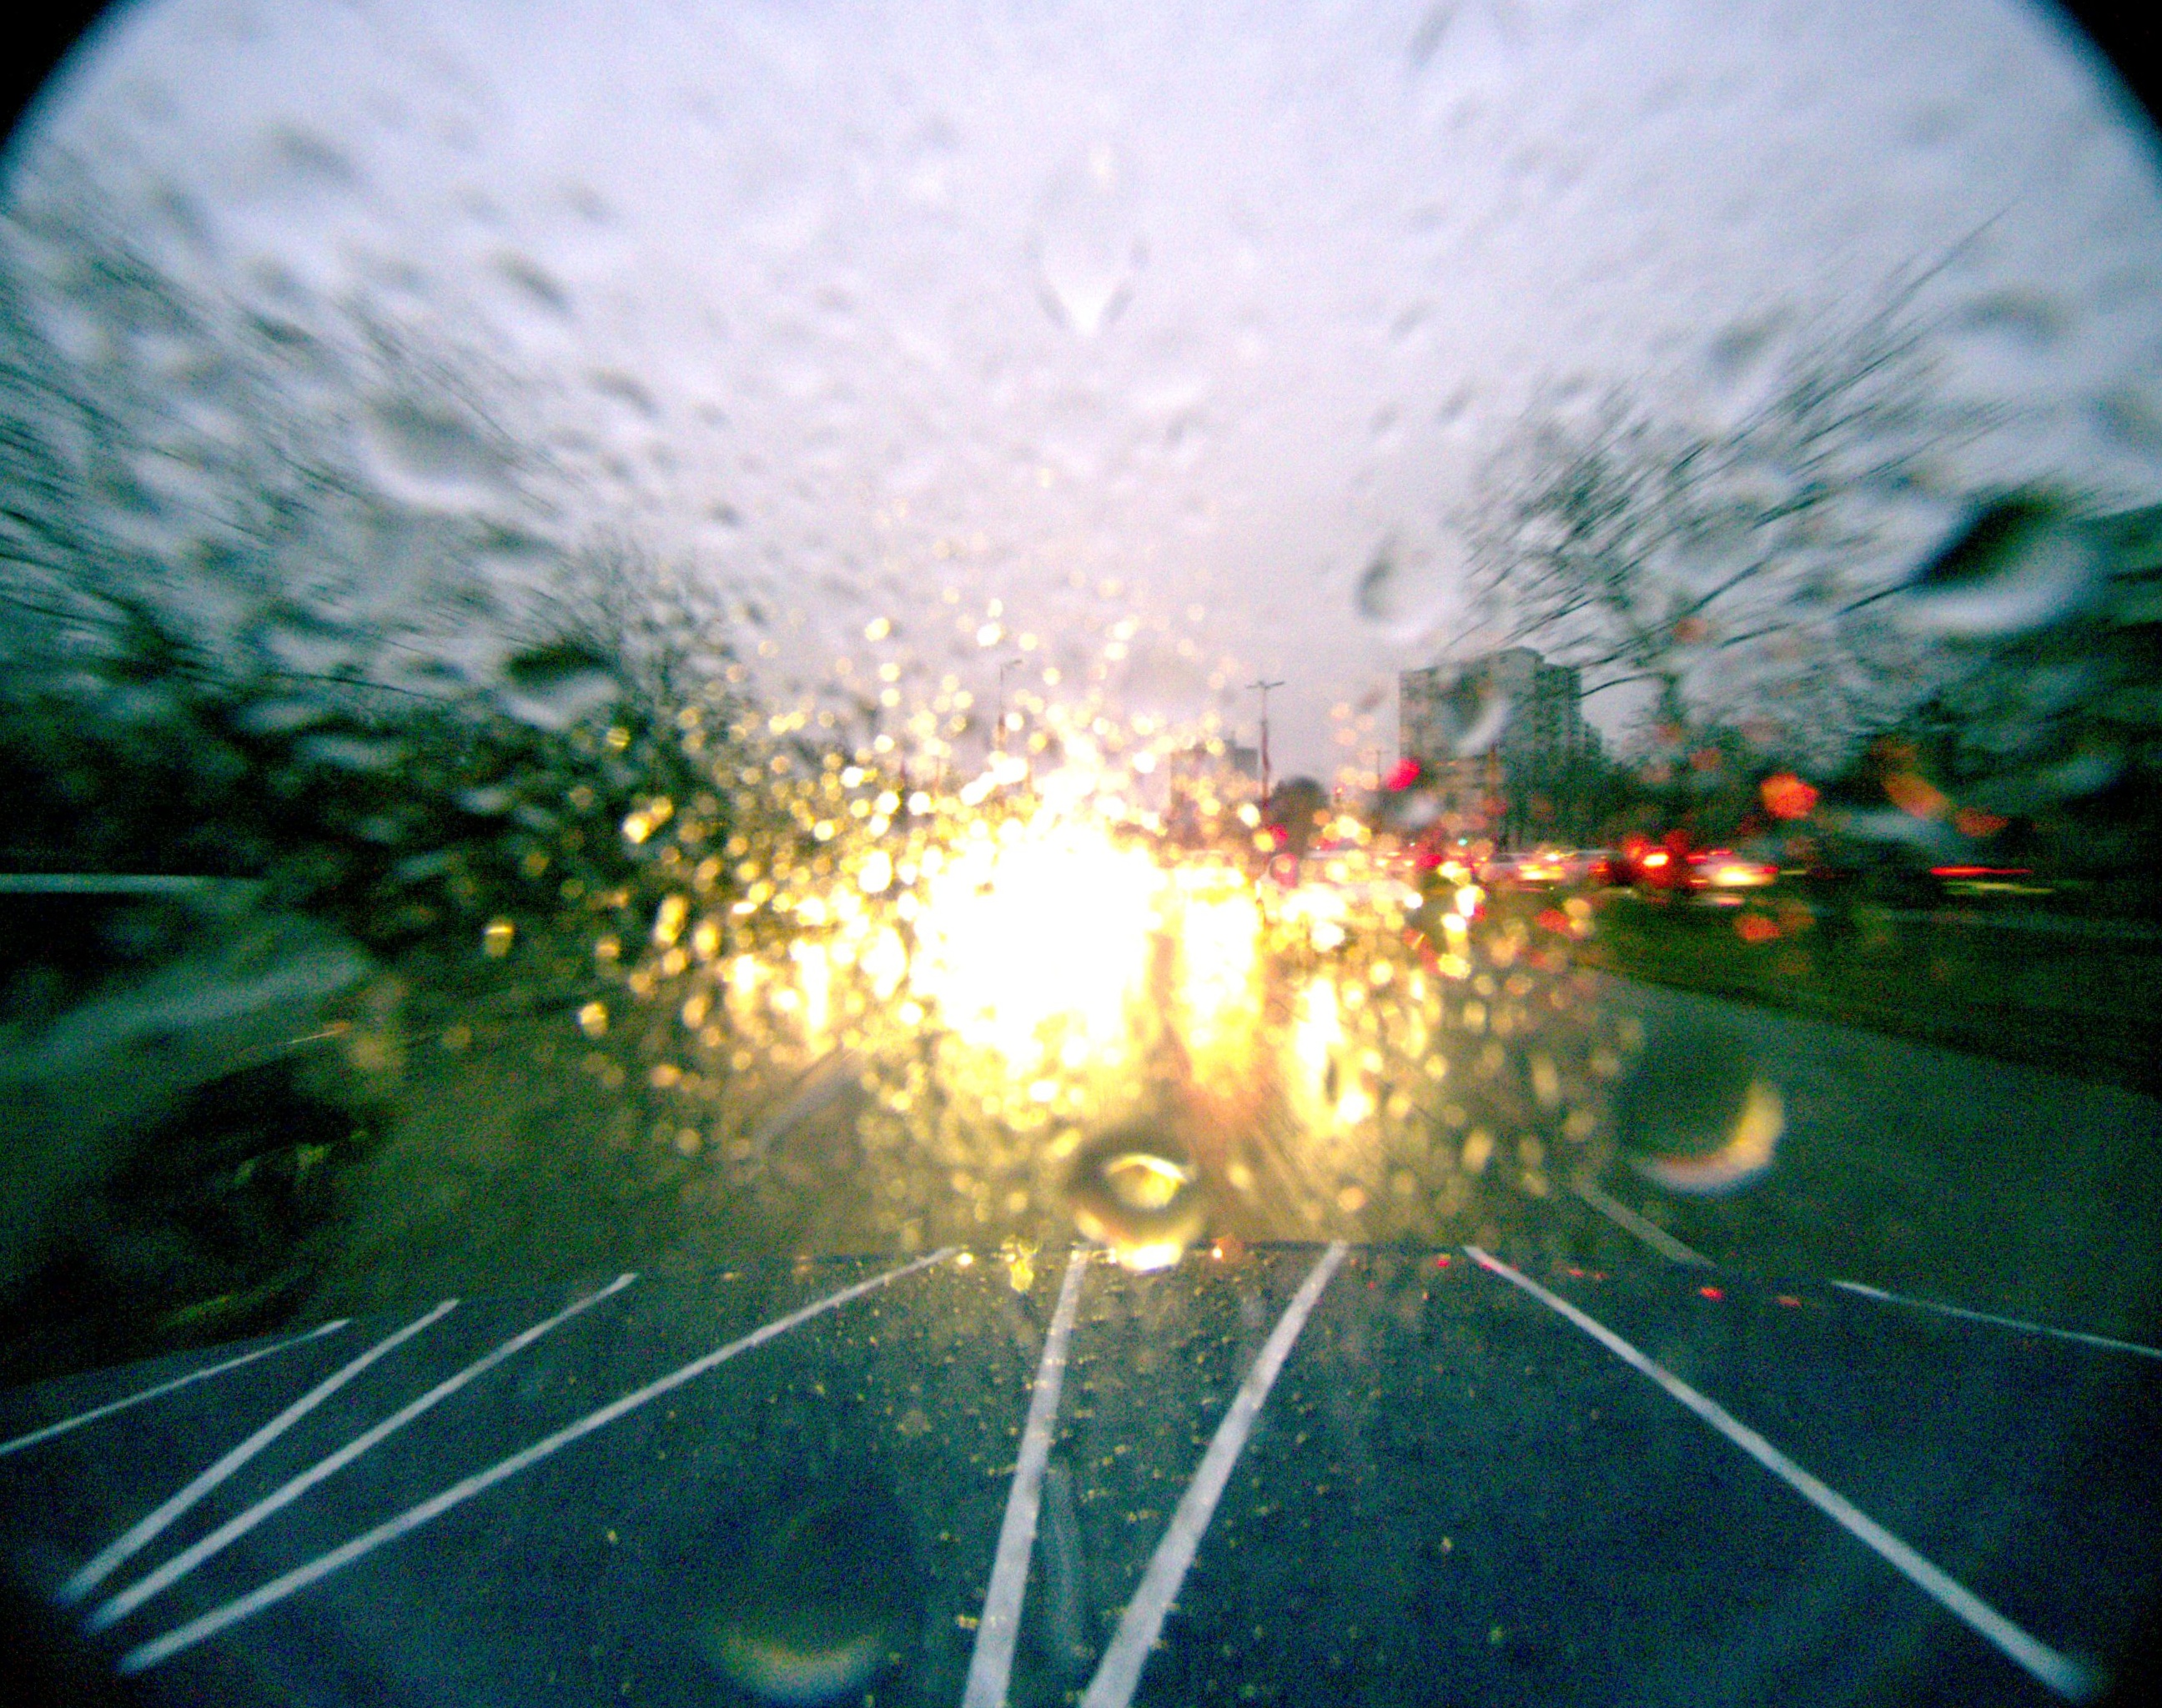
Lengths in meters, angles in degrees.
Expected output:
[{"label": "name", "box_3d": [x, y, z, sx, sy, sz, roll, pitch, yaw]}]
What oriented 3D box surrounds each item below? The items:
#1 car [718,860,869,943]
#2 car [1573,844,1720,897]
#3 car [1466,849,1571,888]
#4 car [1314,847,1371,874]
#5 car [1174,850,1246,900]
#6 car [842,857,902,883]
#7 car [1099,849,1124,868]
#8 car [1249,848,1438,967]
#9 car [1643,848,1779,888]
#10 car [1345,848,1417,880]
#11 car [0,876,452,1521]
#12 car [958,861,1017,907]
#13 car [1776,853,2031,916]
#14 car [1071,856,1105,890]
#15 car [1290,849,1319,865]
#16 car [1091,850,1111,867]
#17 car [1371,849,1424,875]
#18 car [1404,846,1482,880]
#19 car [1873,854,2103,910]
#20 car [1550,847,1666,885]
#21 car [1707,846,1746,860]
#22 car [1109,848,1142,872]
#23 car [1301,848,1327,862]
[{"label": "car", "box_3d": [-6.475, 0.990, 17.724, 1.972, 1.610, 4.546, 0, 1, -3]}, {"label": "car", "box_3d": [18.268, 0.495, 24.788, 1.774, 1.577, 4.032, 0, 0, 0]}, {"label": "car", "box_3d": [18.238, 0.547, 31.947, 1.774, 1.524, 4.524, 0, 0, 0]}, {"label": "car", "box_3d": [15.959, 0.388, 46.562, 1.862, 1.572, 4.078, 0, 0, -3]}, {"label": "car", "box_3d": [4.401, 0.680, 26.501, 1.694, 1.530, 4.189, -2, 1, -1]}, {"label": "car", "box_3d": [-11.403, 0.852, 41.385, 1.640, 1.302, 3.989, -1, 1, -40]}, {"label": "car", "box_3d": [2.656, 0.336, 67.149, 1.953, 1.590, 4.123, -1, 1, -1]}, {"label": "car", "box_3d": [4.115, 0.732, 12.663, 1.718, 1.638, 4.146, -1, 1, 0]}, {"label": "car", "box_3d": [25.323, 0.532, 30.777, 1.774, 1.486, 4.439, 0, 0, 0]}, {"label": "car", "box_3d": [15.338, 0.490, 39.148, 1.774, 1.528, 4.840, 0, 0, 0]}, {"label": "car", "box_3d": [-3.712, 0.936, 1.137, 1.820, 1.609, 4.410, -1, 1, 0]}, {"label": "car", "box_3d": [-3.357, 1.000, 26.888, 1.883, 1.368, 4.751, -1, 1, -8]}, {"label": "car", "box_3d": [21.721, 0.731, 20.424, 1.774, 1.481, 4.649, 0, 0, 0]}, {"label": "car", "box_3d": [0.319, 0.959, 39.904, 1.679, 1.590, 4.044, -1, 1, -1]}, {"label": "car", "box_3d": [22.984, 0.317, 78.379, 1.774, 1.544, 3.946, 0, 0, -1]}, {"label": "car", "box_3d": [2.162, 0.456, 83.081, 1.998, 1.652, 3.999, -2, 1, 0]}, {"label": "car", "box_3d": [18.449, 0.442, 44.437, 1.656, 1.412, 3.326, 0, 0, -1]}, {"label": "car", "box_3d": [18.068, 0.420, 38.141, 1.861, 1.589, 4.286, 0, 0, 0]}, {"label": "car", "box_3d": [25.575, 0.719, 21.673, 1.760, 1.390, 3.999, -1, 1, 0]}, {"label": "car", "box_3d": [21.846, 0.452, 31.748, 1.774, 1.486, 4.439, 0, 0, 0]}, {"label": "car", "box_3d": [77.023, -0.119, 90.625, 4.605, 1.521, 1.995, -1, 1, -29]}, {"label": "car", "box_3d": [3.038, 0.388, 52.718, 1.953, 1.590, 4.123, -1, 1, -1]}, {"label": "car", "box_3d": [26.590, 0.108, 86.720, 1.623, 1.486, 4.016, 0, 0, -1]}]
